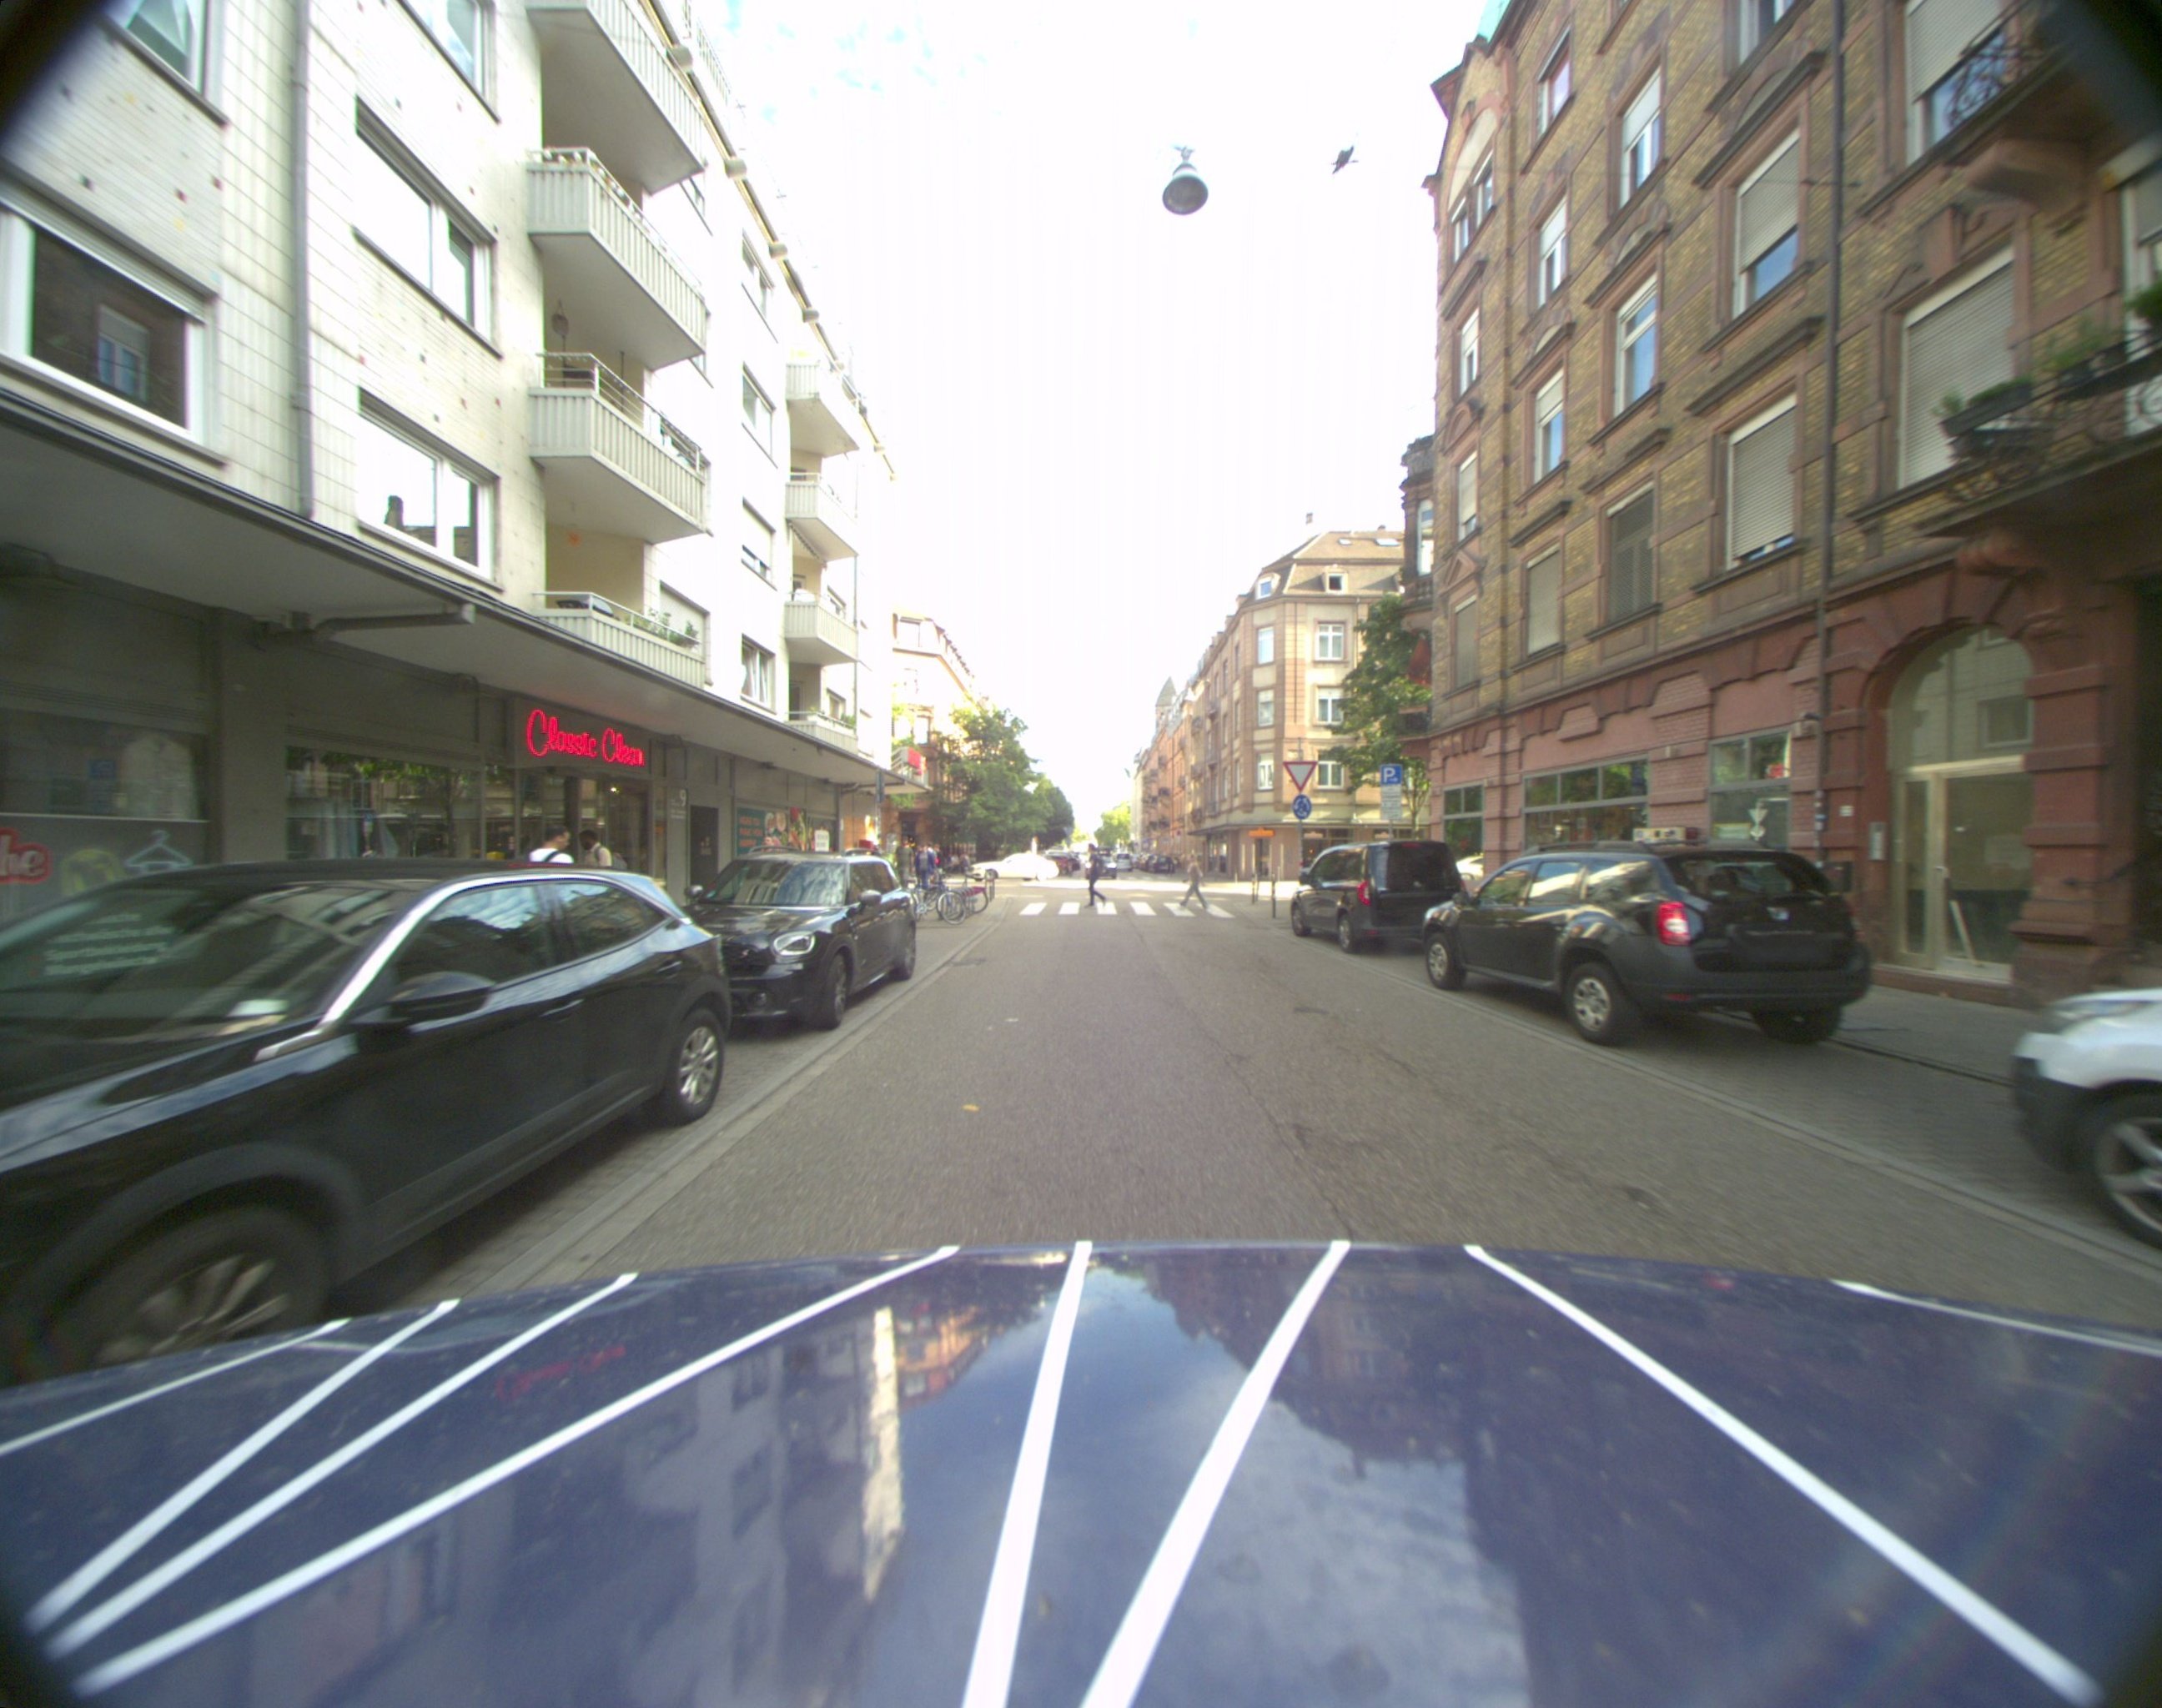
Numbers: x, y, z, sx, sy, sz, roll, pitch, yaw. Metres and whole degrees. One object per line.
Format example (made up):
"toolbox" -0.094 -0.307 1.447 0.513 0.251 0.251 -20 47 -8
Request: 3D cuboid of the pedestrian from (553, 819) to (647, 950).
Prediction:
"pedestrian" -6.740 0.405 10.665 0.714 1.736 0.819 3 0 31

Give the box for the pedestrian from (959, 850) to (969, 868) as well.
"pedestrian" -8.297 0.358 53.754 0.549 1.293 0.620 0 2 -23

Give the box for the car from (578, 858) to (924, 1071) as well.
"car" -2.938 0.855 7.791 1.797 1.596 3.924 1 0 1

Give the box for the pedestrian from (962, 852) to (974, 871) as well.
"pedestrian" -7.769 0.529 52.252 0.729 1.307 0.607 -1 1 -11

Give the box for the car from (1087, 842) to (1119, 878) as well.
"car" 1.400 0.331 46.559 1.792 2.051 4.001 0 1 4

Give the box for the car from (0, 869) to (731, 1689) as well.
"car" -3.037 0.892 2.821 1.692 1.568 3.902 1 0 -1

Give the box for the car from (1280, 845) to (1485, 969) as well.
"car" 5.029 0.780 13.400 1.764 1.763 4.405 -2 0 -1

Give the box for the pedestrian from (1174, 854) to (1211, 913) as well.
"pedestrian" 3.040 0.798 20.818 0.810 1.568 0.614 1 0 -17

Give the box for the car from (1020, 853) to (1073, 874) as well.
"car" -2.556 0.702 56.285 3.593 1.372 1.510 2 0 -25

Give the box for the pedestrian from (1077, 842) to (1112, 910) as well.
"pedestrian" 0.379 0.605 20.936 0.856 1.830 0.679 0 2 7

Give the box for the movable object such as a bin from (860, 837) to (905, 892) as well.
"movable object such as a bin" -6.595 0.318 25.379 0.781 1.734 2.423 0 1 2

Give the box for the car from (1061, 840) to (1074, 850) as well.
"car" -2.335 -1.498 129.516 1.850 1.724 3.998 -1 0 -5

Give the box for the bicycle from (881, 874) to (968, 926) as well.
"bicycle" -3.406 1.004 16.631 1.794 1.064 0.568 2 0 -9

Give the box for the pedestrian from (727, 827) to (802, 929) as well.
"pedestrian" -5.643 0.416 13.619 0.851 1.736 1.049 3 0 -1

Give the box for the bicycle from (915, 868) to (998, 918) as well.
"bicycle" -3.098 0.971 19.016 1.887 1.119 0.907 3 0 -1

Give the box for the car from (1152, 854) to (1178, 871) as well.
"car" 6.838 0.668 61.942 1.723 1.360 3.829 -1 0 1

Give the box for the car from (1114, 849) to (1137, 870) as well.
"car" 4.114 0.544 70.588 1.834 1.780 4.331 -2 -1 0

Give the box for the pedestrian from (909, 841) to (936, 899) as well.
"pedestrian" -4.910 0.484 23.550 0.765 1.743 0.930 0 0 -8

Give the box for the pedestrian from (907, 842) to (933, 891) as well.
"pedestrian" -6.051 0.468 28.629 0.654 1.786 0.659 3 0 13

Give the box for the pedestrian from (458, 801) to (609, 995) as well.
"pedestrian" -5.241 0.395 7.353 0.613 1.716 1.126 -1 0 -1

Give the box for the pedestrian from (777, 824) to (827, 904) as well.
"pedestrian" -5.872 0.214 16.023 0.724 1.623 0.712 3 0 -1

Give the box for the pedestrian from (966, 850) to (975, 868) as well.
"pedestrian" -7.989 0.369 54.883 0.467 1.320 0.620 0 2 -23

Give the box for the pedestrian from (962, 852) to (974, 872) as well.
"pedestrian" -7.676 0.527 51.615 0.729 1.307 0.520 -1 1 -11

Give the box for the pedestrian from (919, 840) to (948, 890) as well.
"pedestrian" -5.461 0.408 28.118 0.712 1.786 0.634 3 0 34

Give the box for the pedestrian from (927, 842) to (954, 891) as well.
"pedestrian" -5.299 0.479 28.645 0.716 1.786 0.630 3 0 -34

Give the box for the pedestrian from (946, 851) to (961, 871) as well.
"pedestrian" -8.670 0.484 51.598 0.715 1.371 0.671 1 2 35

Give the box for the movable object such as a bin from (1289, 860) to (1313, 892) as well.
"movable object such as a bin" 4.997 0.494 17.279 0.384 0.710 0.475 -1 0 -3

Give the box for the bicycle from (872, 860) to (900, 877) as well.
"bicycle" -11.698 0.866 45.597 0.447 0.964 1.716 2 3 39

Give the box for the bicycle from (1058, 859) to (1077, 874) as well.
"bicycle" -0.956 0.896 53.815 0.473 0.979 1.860 2 1 -30

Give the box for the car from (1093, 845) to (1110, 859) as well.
"car" 2.500 -0.209 91.085 1.998 1.624 4.845 0 0 2

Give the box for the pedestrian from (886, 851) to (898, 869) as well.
"pedestrian" -13.039 0.424 52.504 0.510 1.218 0.643 3 4 33

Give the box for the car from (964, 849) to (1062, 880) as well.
"car" -3.627 0.573 40.886 4.845 1.588 1.940 1 0 -32

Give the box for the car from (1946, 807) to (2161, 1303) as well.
"car" 5.002 0.746 1.338 1.924 1.860 4.437 -1 0 0

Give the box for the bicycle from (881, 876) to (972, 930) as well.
"bicycle" -3.221 1.026 15.963 1.794 1.064 0.586 2 0 -9

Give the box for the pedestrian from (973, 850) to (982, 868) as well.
"pedestrian" -7.426 0.356 54.529 0.467 1.320 0.620 0 2 -23

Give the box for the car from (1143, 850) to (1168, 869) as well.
"car" 6.546 0.491 67.072 1.861 1.575 4.398 -1 1 1

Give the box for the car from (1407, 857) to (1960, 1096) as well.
"car" 5.052 0.855 7.308 1.999 1.628 4.145 0 0 -1

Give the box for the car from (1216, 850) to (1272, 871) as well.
"car" 13.150 0.515 61.542 4.000 1.611 1.999 -1 0 -8

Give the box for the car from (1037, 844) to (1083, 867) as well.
"car" -2.320 0.180 84.876 4.746 2.408 1.995 -1 0 -32

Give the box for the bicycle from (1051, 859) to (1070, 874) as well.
"bicycle" -1.464 0.906 53.790 0.473 0.979 1.860 2 1 -30

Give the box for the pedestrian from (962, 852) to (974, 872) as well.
"pedestrian" -7.610 0.525 51.063 0.729 1.307 0.520 -1 1 -11

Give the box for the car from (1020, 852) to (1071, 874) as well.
"car" -2.736 0.700 58.910 3.592 1.606 1.510 2 0 -22

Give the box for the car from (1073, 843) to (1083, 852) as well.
"car" -0.590 -1.502 164.655 1.998 1.877 4.001 -1 0 3
